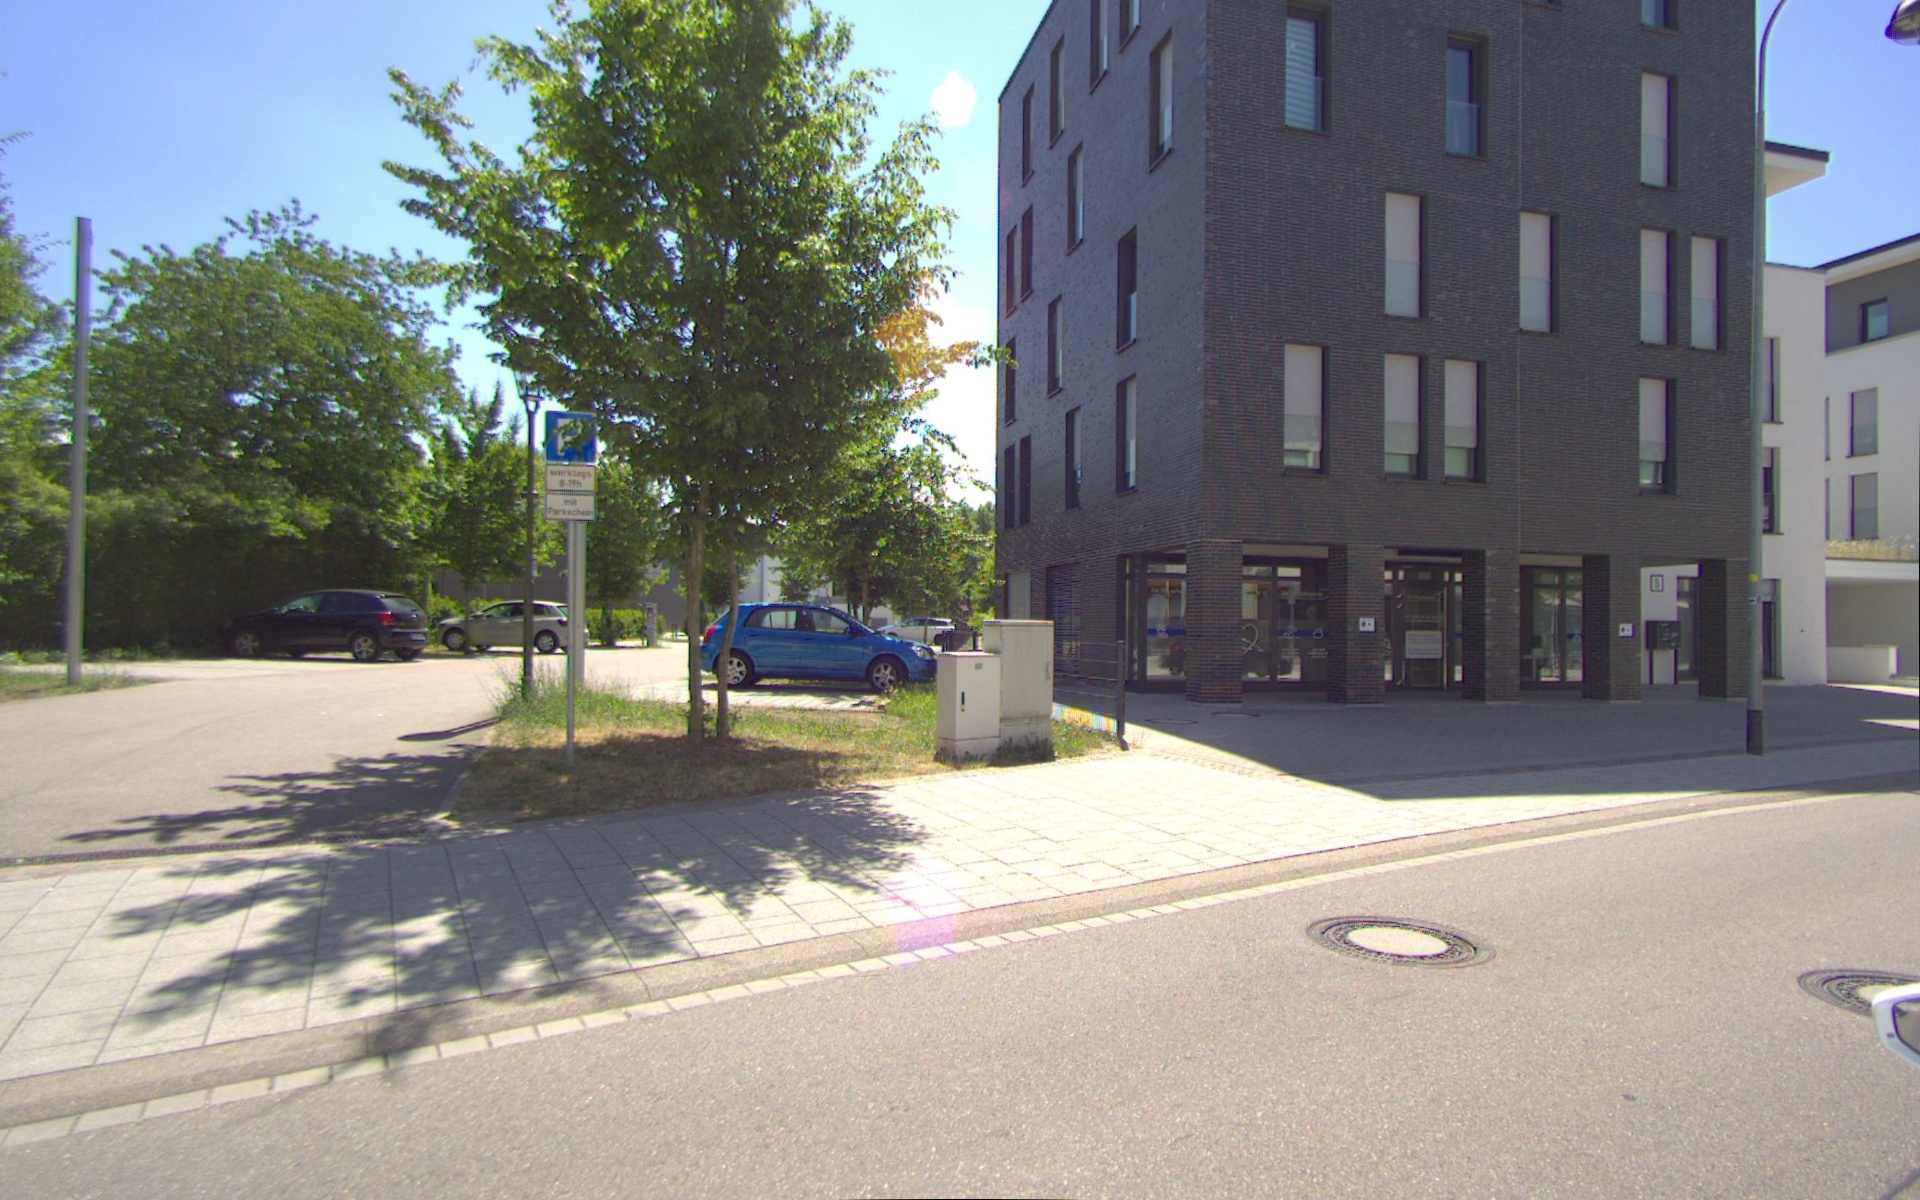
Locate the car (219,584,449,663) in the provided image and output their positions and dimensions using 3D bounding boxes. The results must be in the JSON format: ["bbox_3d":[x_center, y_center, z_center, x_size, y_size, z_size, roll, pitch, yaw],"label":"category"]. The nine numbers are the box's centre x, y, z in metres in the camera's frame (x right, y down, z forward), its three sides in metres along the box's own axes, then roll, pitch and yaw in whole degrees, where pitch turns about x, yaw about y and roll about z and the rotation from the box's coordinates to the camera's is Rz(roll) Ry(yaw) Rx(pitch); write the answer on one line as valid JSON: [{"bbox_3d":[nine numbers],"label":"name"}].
[{"bbox_3d":[-13.017,0.496,21.072,3.695,1.511,1.690,1,-1,-4],"label":"car"}]

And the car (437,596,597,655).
[{"bbox_3d":[-12.352,0.700,28.158,3.692,1.511,1.691,1,-1,1],"label":"car"}]

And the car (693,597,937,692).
[{"bbox_3d":[-2.417,0.785,17.504,4.000,1.505,1.700,1,-3,-2],"label":"car"}]

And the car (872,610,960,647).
[{"bbox_3d":[-2.362,1.529,54.842,4.690,1.887,2.000,1,-1,-2],"label":"car"}]
